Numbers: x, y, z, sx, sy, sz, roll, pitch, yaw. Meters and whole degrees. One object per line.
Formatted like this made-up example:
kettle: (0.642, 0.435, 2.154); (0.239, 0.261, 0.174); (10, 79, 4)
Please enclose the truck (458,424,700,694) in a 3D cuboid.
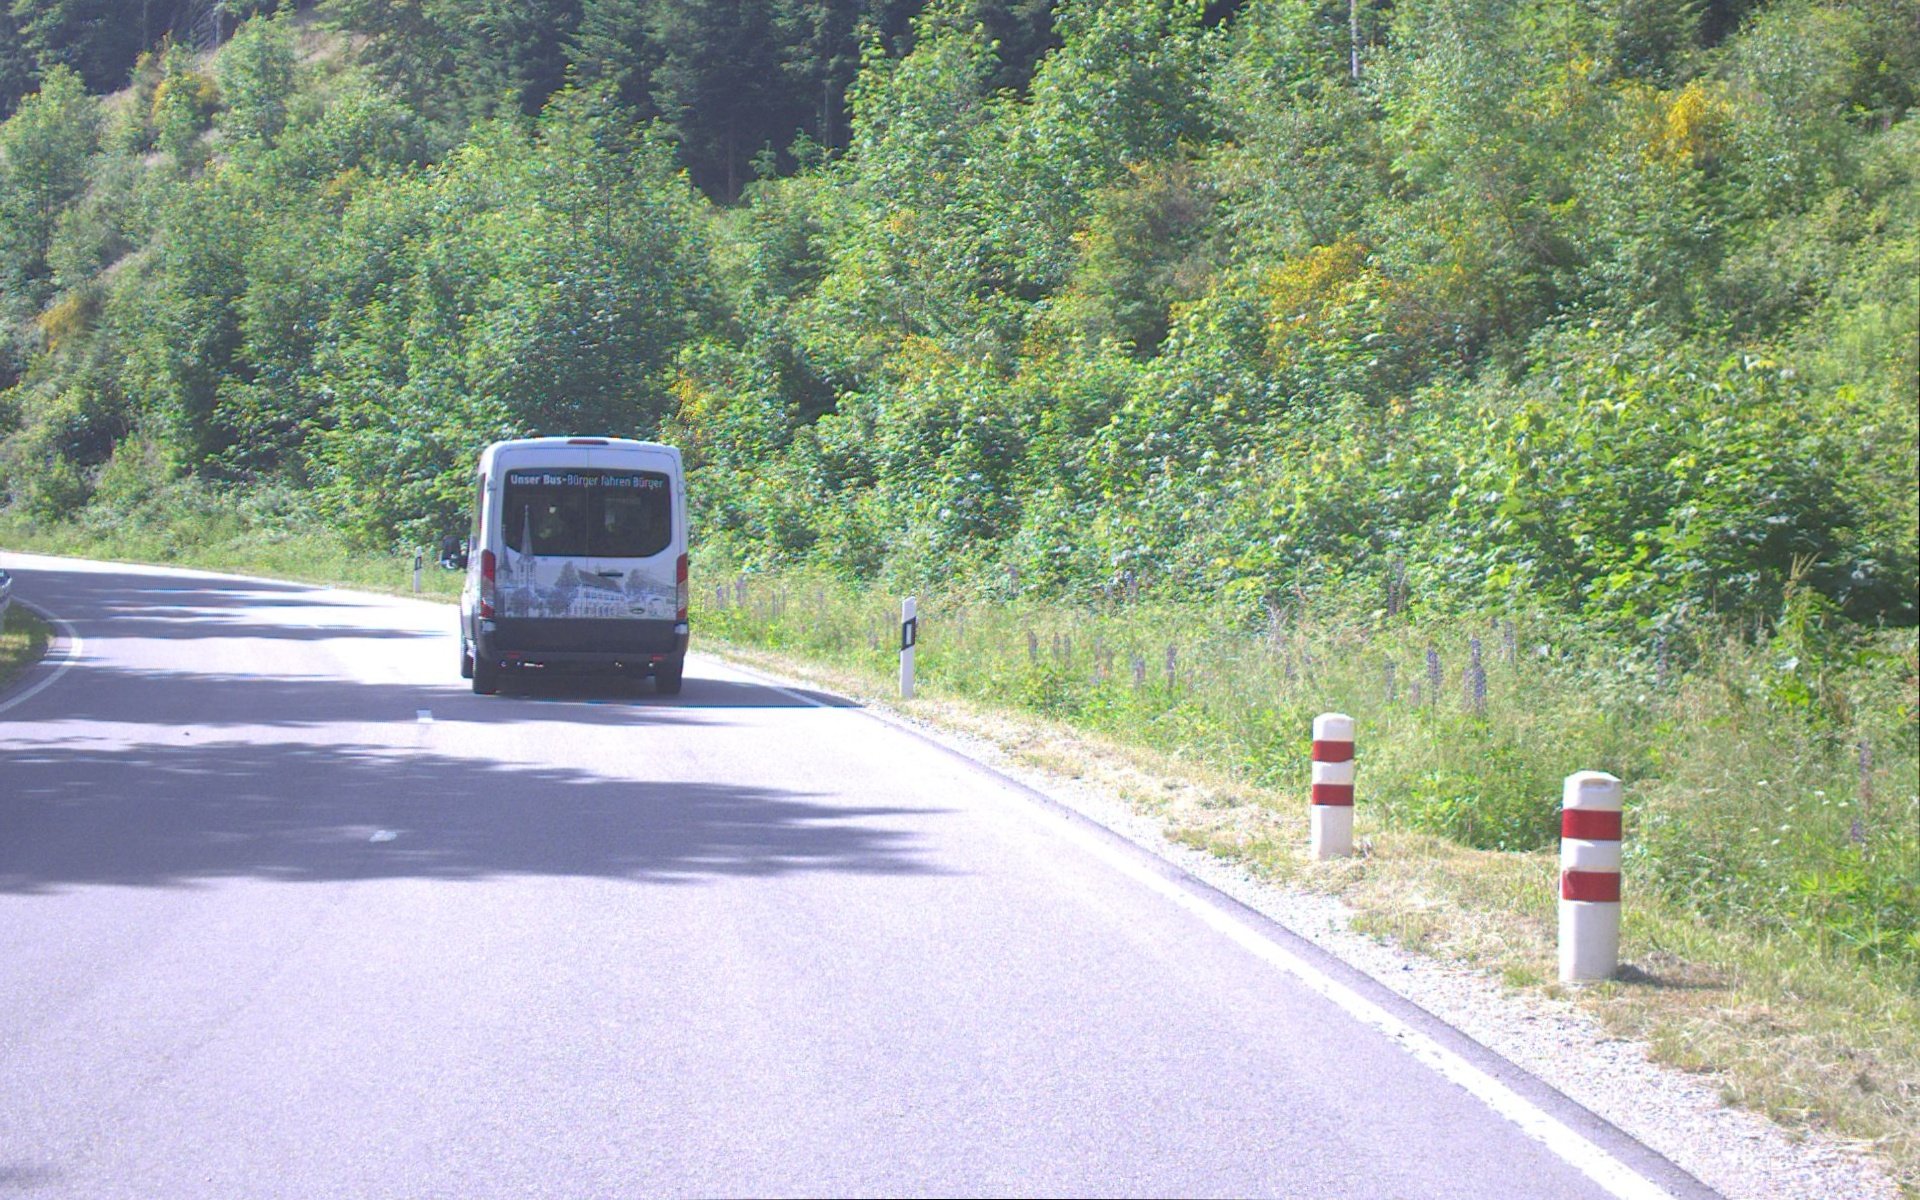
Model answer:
truck: (-3.922, -0.443, 34.610); (2.115, 2.489, 5.361); (0, 1, -9)
